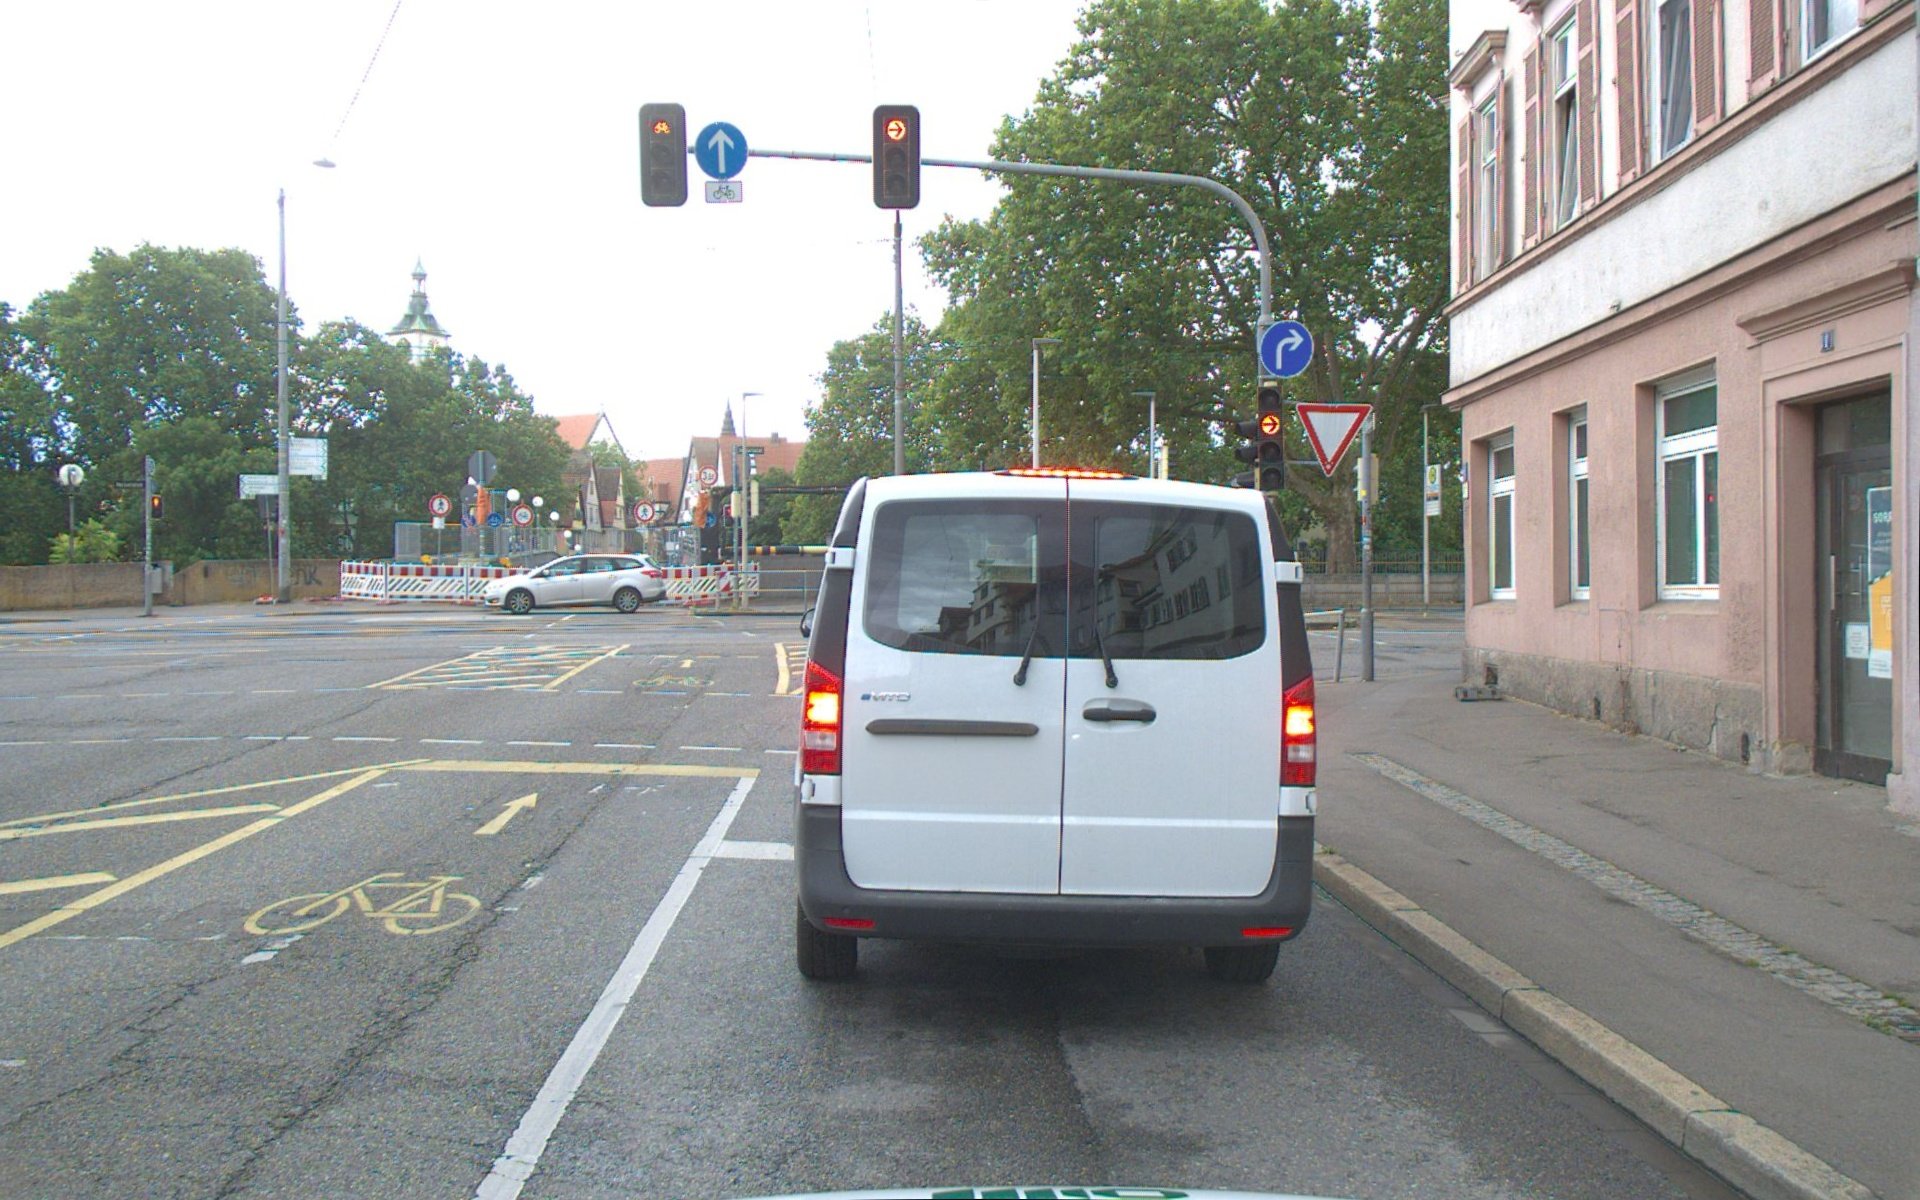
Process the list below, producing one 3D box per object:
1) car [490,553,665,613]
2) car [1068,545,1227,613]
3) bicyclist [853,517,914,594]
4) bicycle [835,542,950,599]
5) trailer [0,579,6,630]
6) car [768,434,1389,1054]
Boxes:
[{"bbox_3d":[-9.613,-0.432,41.775,4.200,1.478,1.894,0,0,-12],"label":"car"},{"bbox_3d":[5.091,-0.548,45.095,3.915,1.771,1.995,0,-1,-11],"label":"car"},{"bbox_3d":[-2.207,-1.261,47.365,1.538,2.193,1.243,0,0,-15],"label":"bicyclist"},{"bbox_3d":[-1.958,-0.834,47.527,3.092,1.597,1.465,0,0,-15],"label":"bicycle"},{"bbox_3d":[-23.519,0.167,37.222,3.152,1.178,1.990,-1,2,-19],"label":"trailer"},{"bbox_3d":[0.324,0.393,7.385,1.953,1.956,4.248,1,2,-2],"label":"car"}]
